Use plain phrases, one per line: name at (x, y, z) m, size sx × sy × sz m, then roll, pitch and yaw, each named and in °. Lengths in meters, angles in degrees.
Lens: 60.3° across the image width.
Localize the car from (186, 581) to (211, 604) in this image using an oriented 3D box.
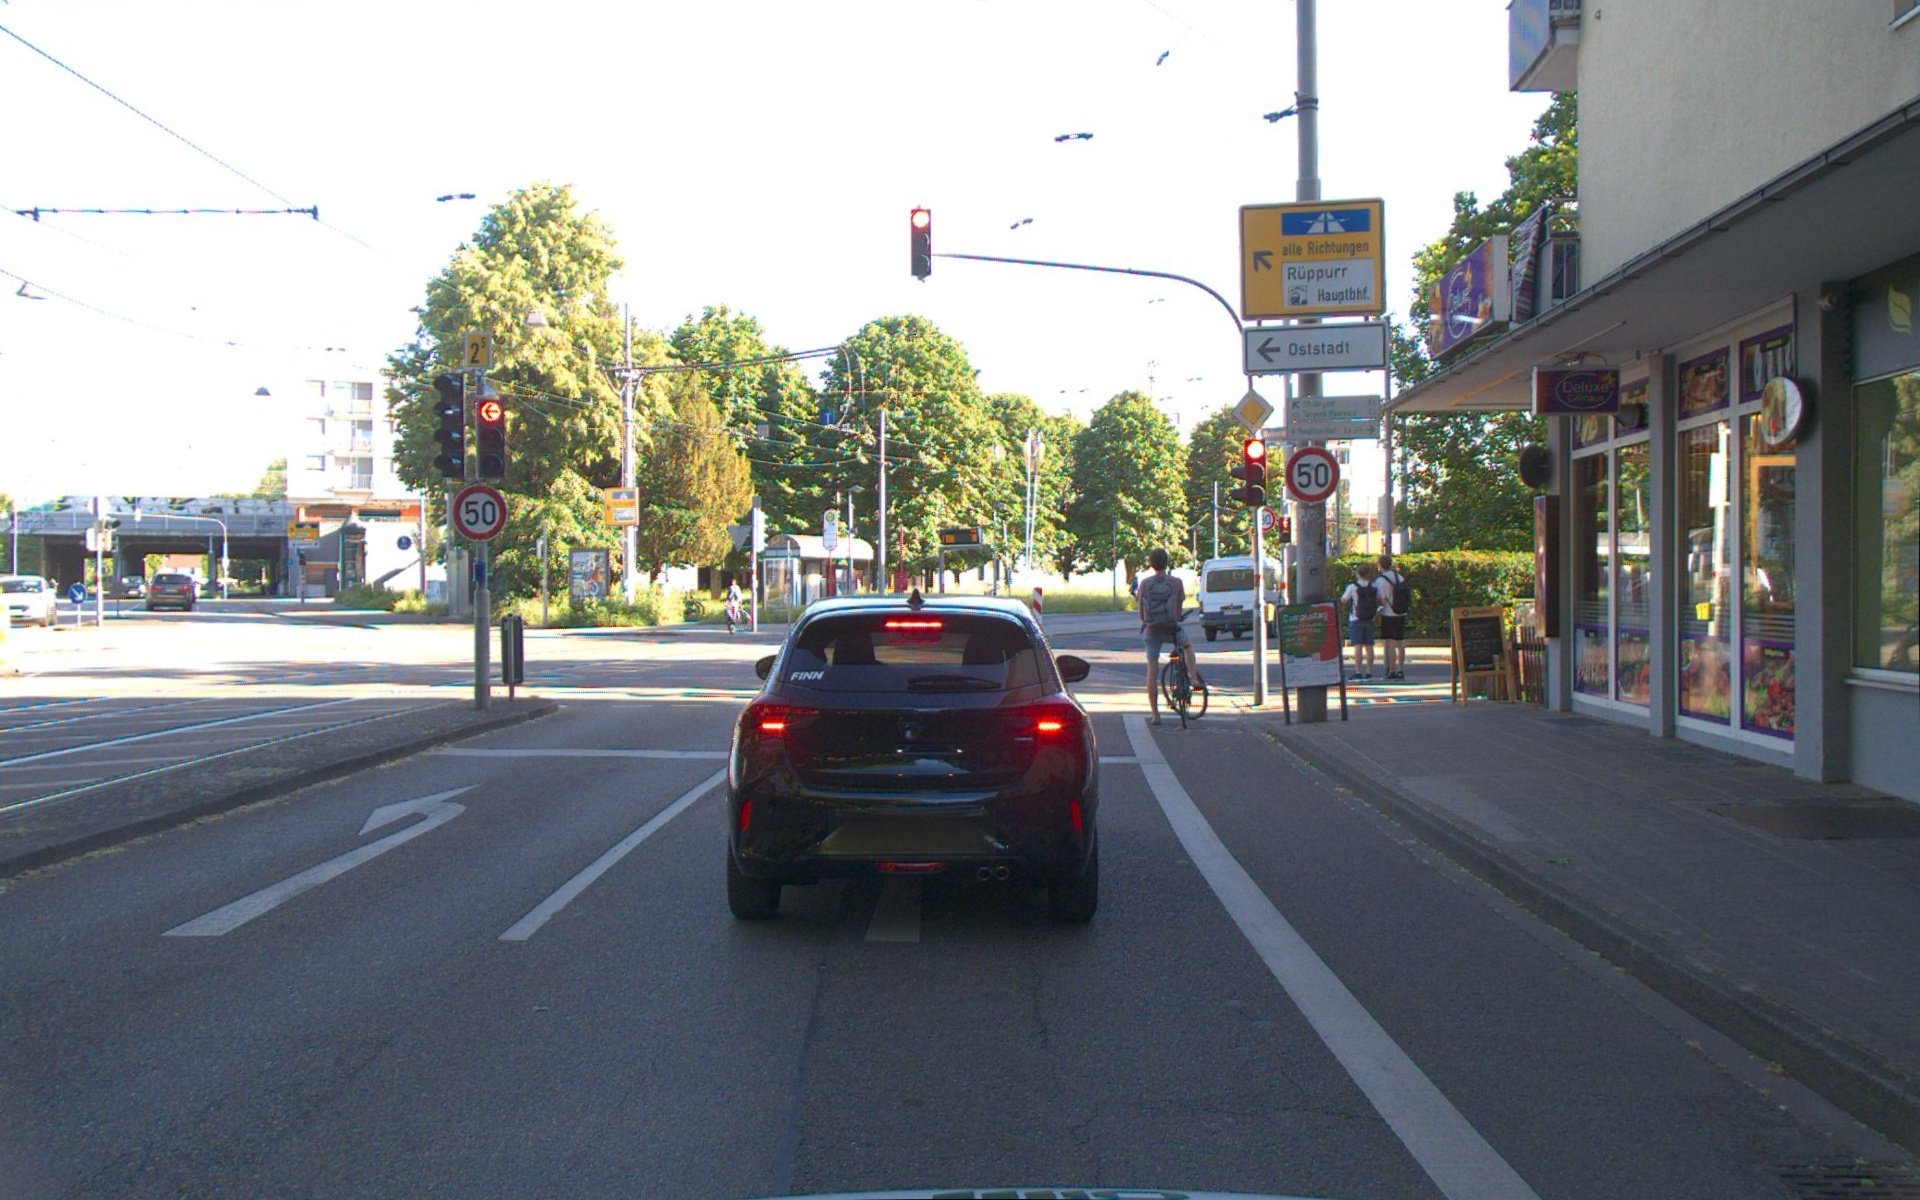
car at (-59.248, -0.562, 128.765) m, size 1.732 × 1.713 × 3.712 m, roll 1°, pitch 0°, yaw -25°

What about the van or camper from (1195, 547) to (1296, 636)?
van or camper at (8.069, -0.223, 46.405) m, size 1.987 × 2.351 × 4.540 m, roll 1°, pitch 0°, yaw 20°

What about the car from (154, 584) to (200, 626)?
car at (-38.026, 0.215, 80.404) m, size 1.883 × 1.914 × 4.810 m, roll -1°, pitch 1°, yaw -24°

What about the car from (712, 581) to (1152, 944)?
car at (-0.140, 0.648, 8.791) m, size 1.803 × 1.487 × 3.983 m, roll 0°, pitch 1°, yaw -1°

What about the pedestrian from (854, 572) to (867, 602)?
pedestrian at (-6.241, -0.803, 103.602) m, size 0.723 × 1.904 × 0.661 m, roll 1°, pitch -1°, yaw -7°

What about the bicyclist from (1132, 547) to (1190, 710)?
bicyclist at (2.167, 0.298, 17.777) m, size 0.522 × 1.722 × 0.568 m, roll 0°, pitch 0°, yaw 16°

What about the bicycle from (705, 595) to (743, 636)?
bicycle at (-6.561, 0.418, 46.085) m, size 0.780 × 1.083 × 2.184 m, roll 0°, pitch 1°, yaw -1°

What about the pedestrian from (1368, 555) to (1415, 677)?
pedestrian at (6.674, 0.245, 25.564) m, size 0.620 × 1.852 × 0.745 m, roll 1°, pitch -1°, yaw 19°

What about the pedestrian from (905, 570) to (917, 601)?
pedestrian at (-2.953, -0.879, 100.145) m, size 0.607 × 1.904 × 0.520 m, roll 1°, pitch -1°, yaw 7°

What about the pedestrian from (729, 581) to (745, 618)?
pedestrian at (-8.898, -0.020, 66.017) m, size 0.558 × 1.498 × 0.665 m, roll 0°, pitch 0°, yaw -2°

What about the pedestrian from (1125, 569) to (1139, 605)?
pedestrian at (9.392, -0.710, 90.137) m, size 0.593 × 1.904 × 0.518 m, roll 1°, pitch -1°, yaw -14°

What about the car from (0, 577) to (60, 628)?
car at (-31.147, 0.073, 54.900) m, size 1.860 × 1.613 × 3.809 m, roll 1°, pitch 0°, yaw -24°

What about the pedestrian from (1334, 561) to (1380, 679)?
pedestrian at (6.166, 0.310, 25.668) m, size 0.620 × 1.794 × 0.582 m, roll 1°, pitch -1°, yaw 19°

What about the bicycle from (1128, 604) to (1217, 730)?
bicycle at (2.332, 0.689, 17.965) m, size 0.737 × 1.256 × 2.017 m, roll 0°, pitch 1°, yaw 14°

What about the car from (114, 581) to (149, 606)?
car at (-55.575, -0.451, 110.933) m, size 1.860 × 1.613 × 3.809 m, roll 1°, pitch 0°, yaw -24°
